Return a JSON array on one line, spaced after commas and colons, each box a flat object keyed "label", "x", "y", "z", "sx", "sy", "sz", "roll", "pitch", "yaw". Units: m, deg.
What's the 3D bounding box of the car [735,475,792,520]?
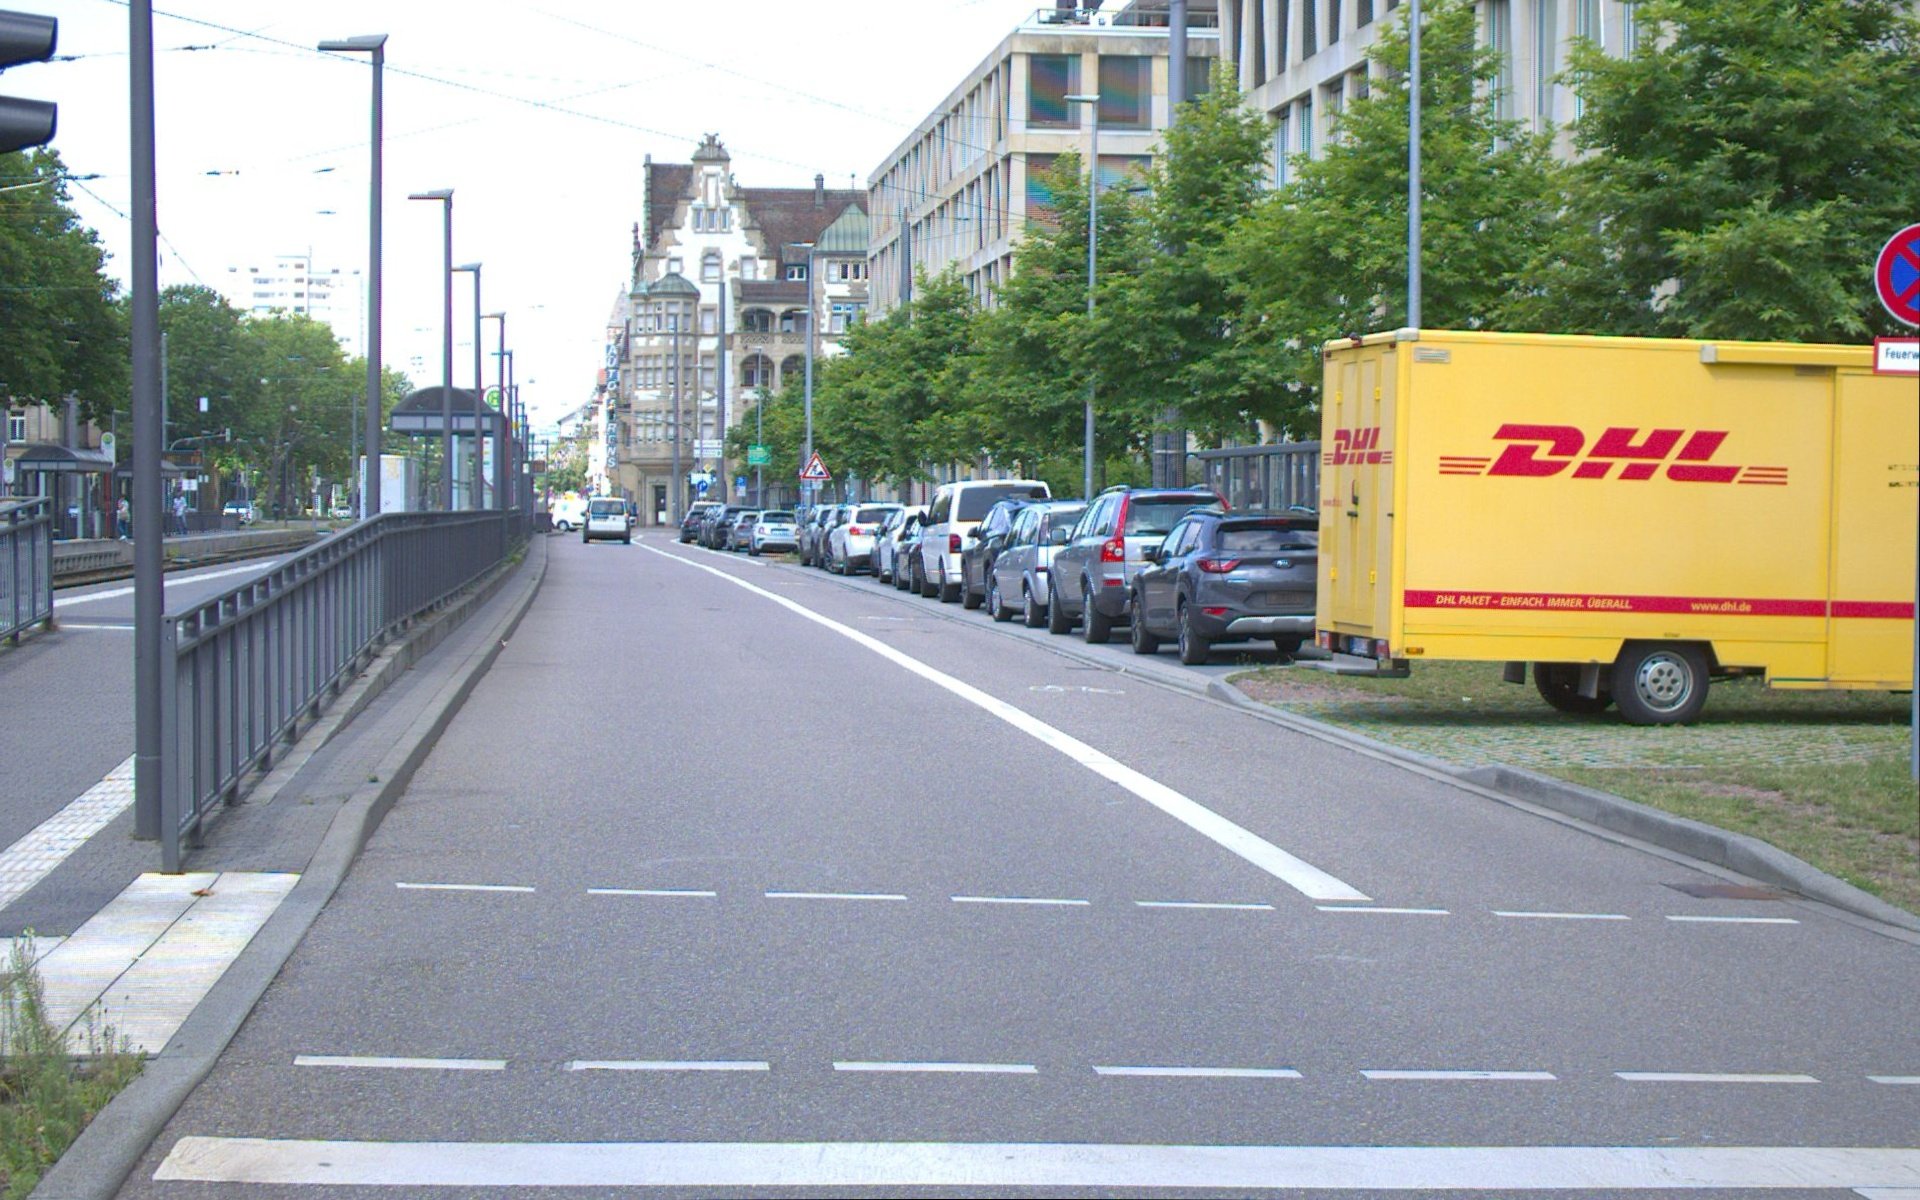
[{"label": "car", "x": -6.932, "y": -3.578, "z": 120.982, "sx": 1.591, "sy": 1.429, "sz": 4.108, "roll": 2, "pitch": 0, "yaw": -9}]

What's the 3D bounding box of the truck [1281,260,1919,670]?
[{"label": "truck", "x": 6.013, "y": -0.934, "z": 25.696, "sx": 6.804, "sy": 2.857, "sz": 2.455, "roll": 0, "pitch": 0, "yaw": -9}]

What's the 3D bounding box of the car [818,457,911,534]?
[{"label": "car", "x": -2.169, "y": -2.318, "z": 77.292, "sx": 1.685, "sy": 1.600, "sz": 4.152, "roll": -1, "pitch": 0, "yaw": -7}]

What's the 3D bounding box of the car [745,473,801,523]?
[{"label": "car", "x": -6.001, "y": -3.249, "z": 109.805, "sx": 1.591, "sy": 1.455, "sz": 3.613, "roll": 2, "pitch": 0, "yaw": -6}]

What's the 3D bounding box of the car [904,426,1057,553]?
[{"label": "car", "x": 0.286, "y": -1.778, "z": 56.642, "sx": 1.881, "sy": 1.932, "sz": 4.844, "roll": -1, "pitch": 0, "yaw": -7}]

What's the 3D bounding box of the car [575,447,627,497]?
[{"label": "car", "x": -14.078, "y": -4.997, "z": 134.617, "sx": 1.868, "sy": 1.740, "sz": 4.001, "roll": 1, "pitch": 0, "yaw": -7}]

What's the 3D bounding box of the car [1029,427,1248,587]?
[{"label": "car", "x": 2.019, "y": -1.036, "z": 40.319, "sx": 1.768, "sy": 1.761, "sz": 4.841, "roll": 0, "pitch": 0, "yaw": -7}]

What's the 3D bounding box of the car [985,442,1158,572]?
[{"label": "car", "x": 1.427, "y": -1.188, "z": 45.380, "sx": 1.720, "sy": 1.614, "sz": 3.861, "roll": 0, "pitch": 0, "yaw": -7}]

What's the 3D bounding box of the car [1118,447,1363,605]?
[{"label": "car", "x": 2.780, "y": -0.715, "z": 34.915, "sx": 1.691, "sy": 1.499, "sz": 4.069, "roll": 0, "pitch": 0, "yaw": -7}]

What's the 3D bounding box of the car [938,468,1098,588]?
[{"label": "car", "x": 0.798, "y": -1.018, "z": 50.247, "sx": 1.720, "sy": 1.635, "sz": 4.528, "roll": -1, "pitch": 0, "yaw": -7}]
